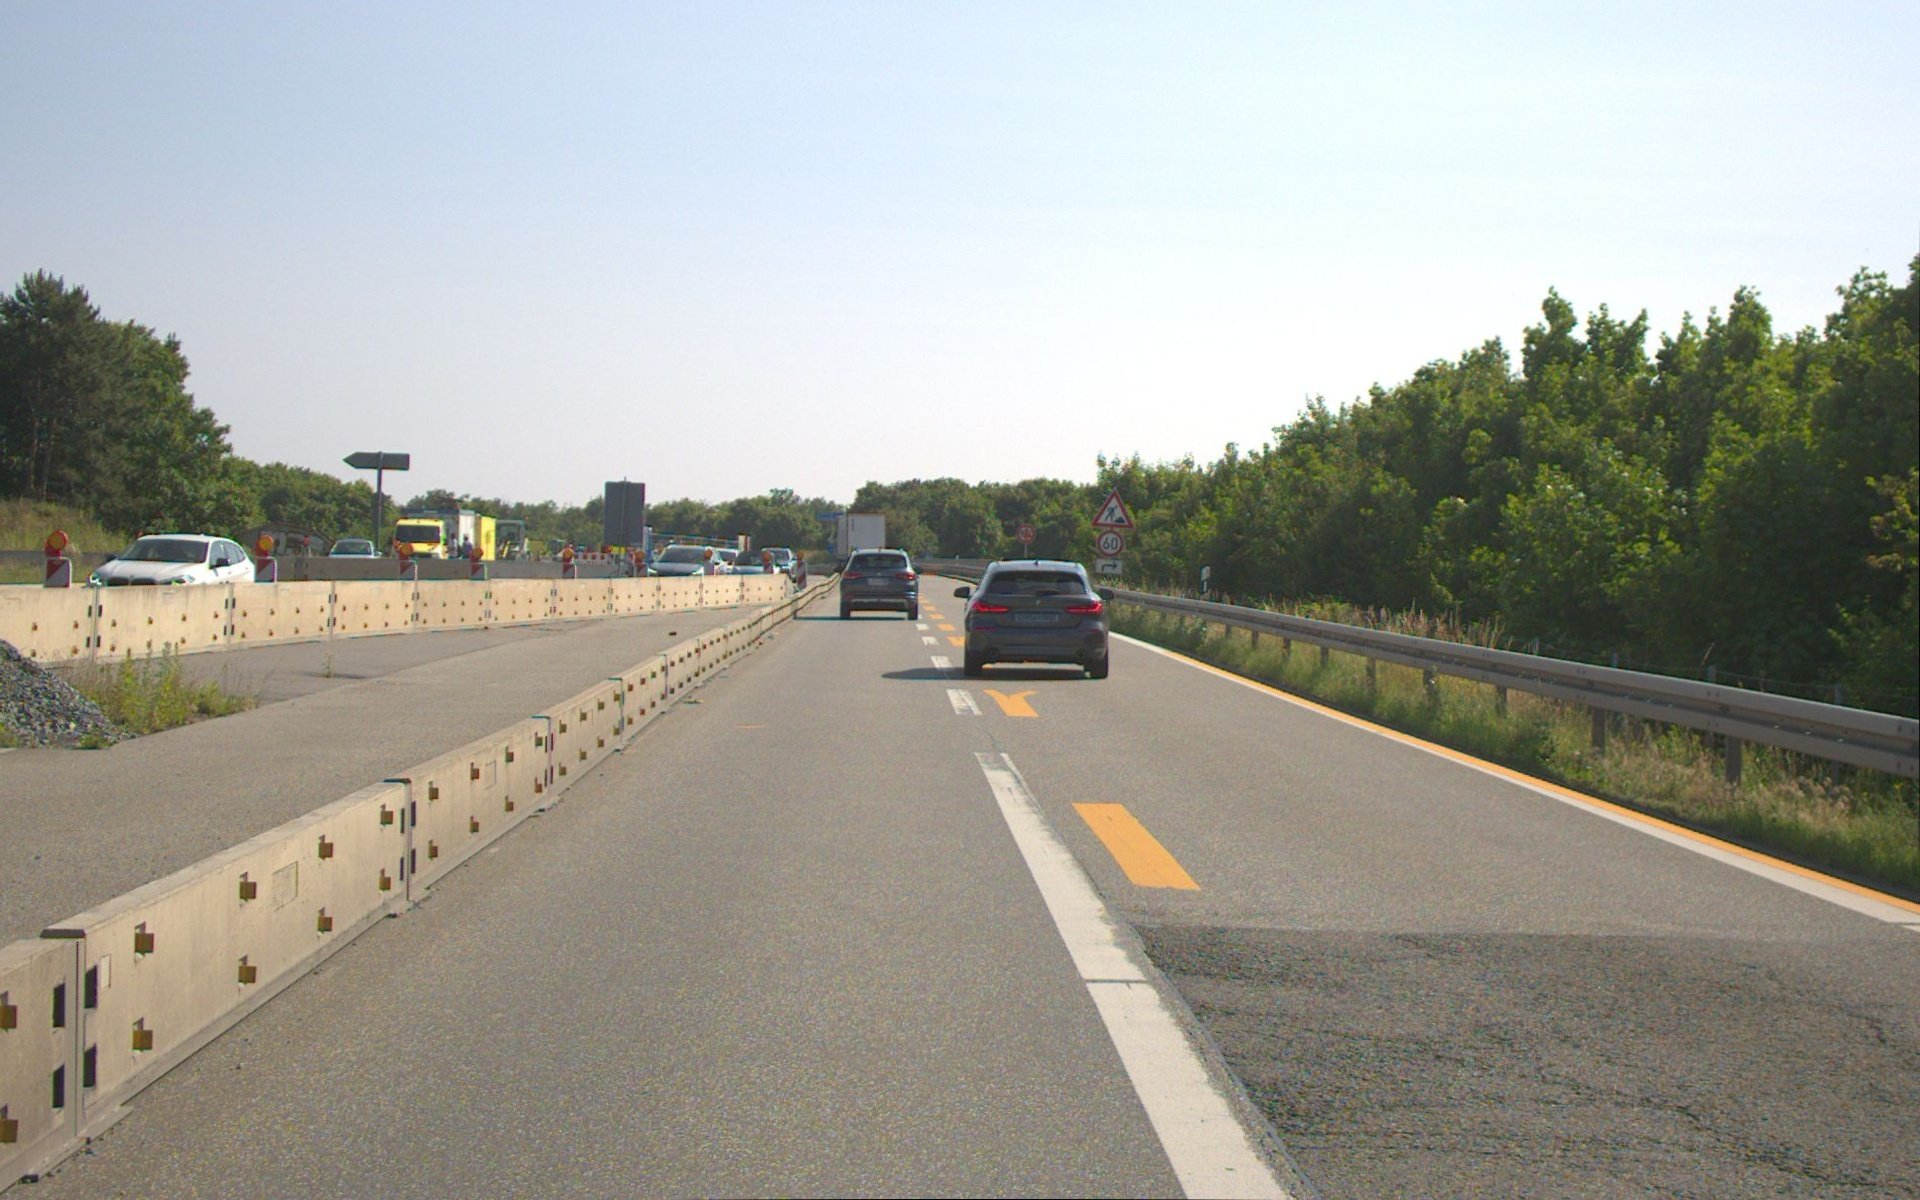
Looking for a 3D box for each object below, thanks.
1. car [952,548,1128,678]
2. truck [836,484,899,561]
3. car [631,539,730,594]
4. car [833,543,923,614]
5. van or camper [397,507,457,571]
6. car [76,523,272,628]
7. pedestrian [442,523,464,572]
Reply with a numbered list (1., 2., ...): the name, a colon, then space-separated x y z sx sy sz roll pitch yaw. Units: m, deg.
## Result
1. car: 0.959 0.126 43.468 1.920 1.488 4.001 2 1 -2
2. truck: -6.210 -5.123 228.603 3.760 4.894 14.138 2 1 -3
3. car: -8.035 -0.976 99.098 1.994 1.510 4.579 1 1 6
4. car: -1.863 -0.509 78.909 1.993 1.561 4.000 1 1 -1
5. van or camper: -20.647 -2.366 133.346 1.993 2.370 6.203 2 1 -7
6. car: -12.590 -0.414 55.362 1.817 1.602 4.438 1 1 5
7. pedestrian: -19.250 -2.001 130.537 0.740 1.814 0.797 2 1 -12
